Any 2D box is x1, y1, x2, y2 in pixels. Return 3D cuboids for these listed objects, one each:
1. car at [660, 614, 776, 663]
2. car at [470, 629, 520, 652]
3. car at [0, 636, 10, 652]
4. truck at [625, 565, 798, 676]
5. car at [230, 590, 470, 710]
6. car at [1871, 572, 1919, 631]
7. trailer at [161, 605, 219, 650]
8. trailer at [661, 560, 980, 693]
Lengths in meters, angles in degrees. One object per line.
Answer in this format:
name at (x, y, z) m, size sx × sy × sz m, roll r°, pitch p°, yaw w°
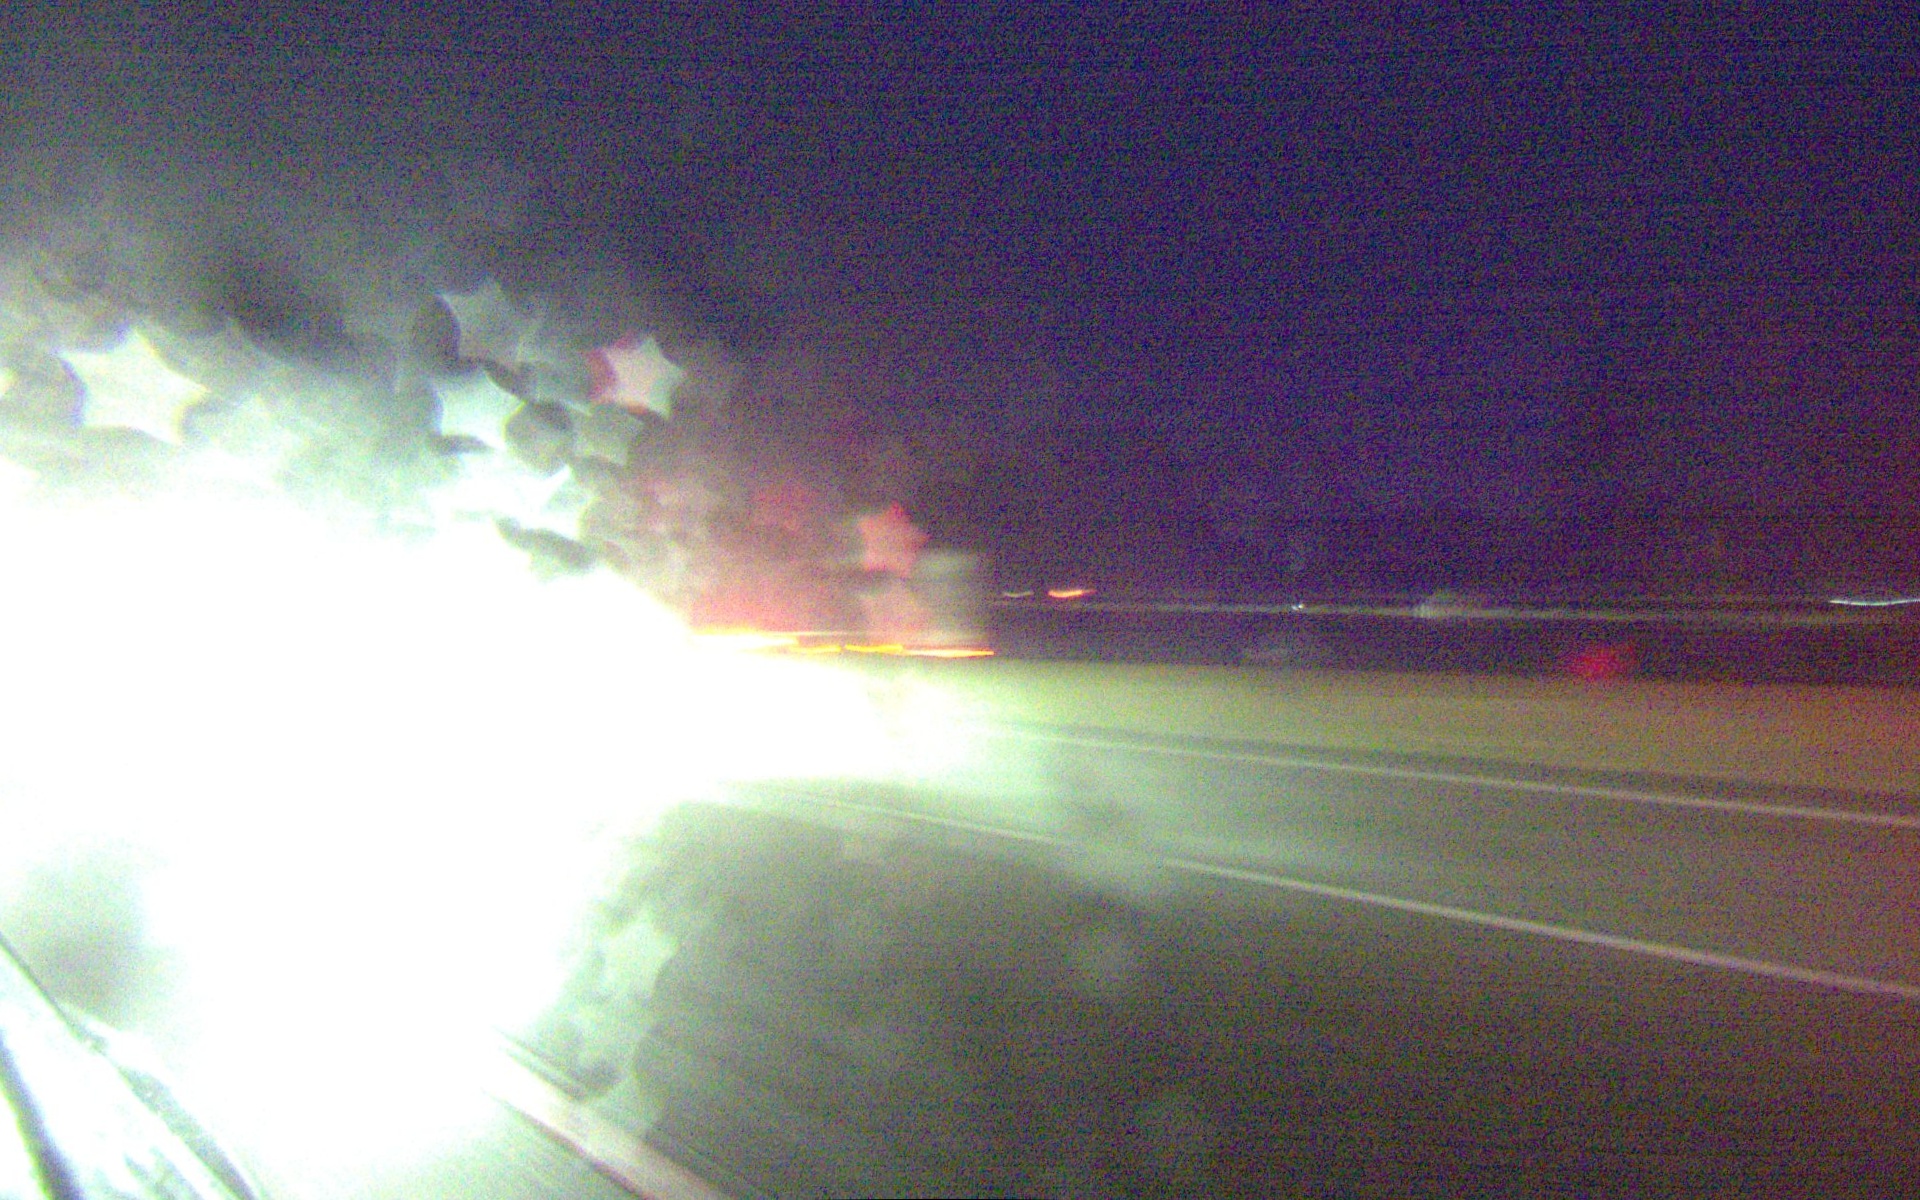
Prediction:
car at (-7.357, 1.144, 30.594) m, size 3.702 × 1.309 × 1.597 m, roll 0°, pitch -3°, yaw 43°
car at (-30.430, 2.649, 66.173) m, size 3.702 × 1.309 × 1.597 m, roll 0°, pitch -3°, yaw 43°
car at (-78.973, 3.611, 82.532) m, size 3.987 × 1.304 × 1.690 m, roll -3°, pitch -5°, yaw 40°
truck at (-9.980, 0.776, 40.182) m, size 7.346 × 4.036 × 2.783 m, roll 1°, pitch -3°, yaw 41°
car at (-11.392, 0.835, 18.713) m, size 5.552 × 1.899 × 2.114 m, roll 1°, pitch -3°, yaw 41°
car at (33.198, 0.024, 33.200) m, size 1.969 × 1.947 × 4.692 m, roll 0°, pitch -1°, yaw -41°
trailer at (-84.406, 2.925, 110.808) m, size 13.917 × 4.578 × 2.521 m, roll 0°, pitch -3°, yaw 43°
trailer at (-5.549, 0.820, 36.269) m, size 13.925 × 4.029 × 2.783 m, roll 1°, pitch -3°, yaw 41°
